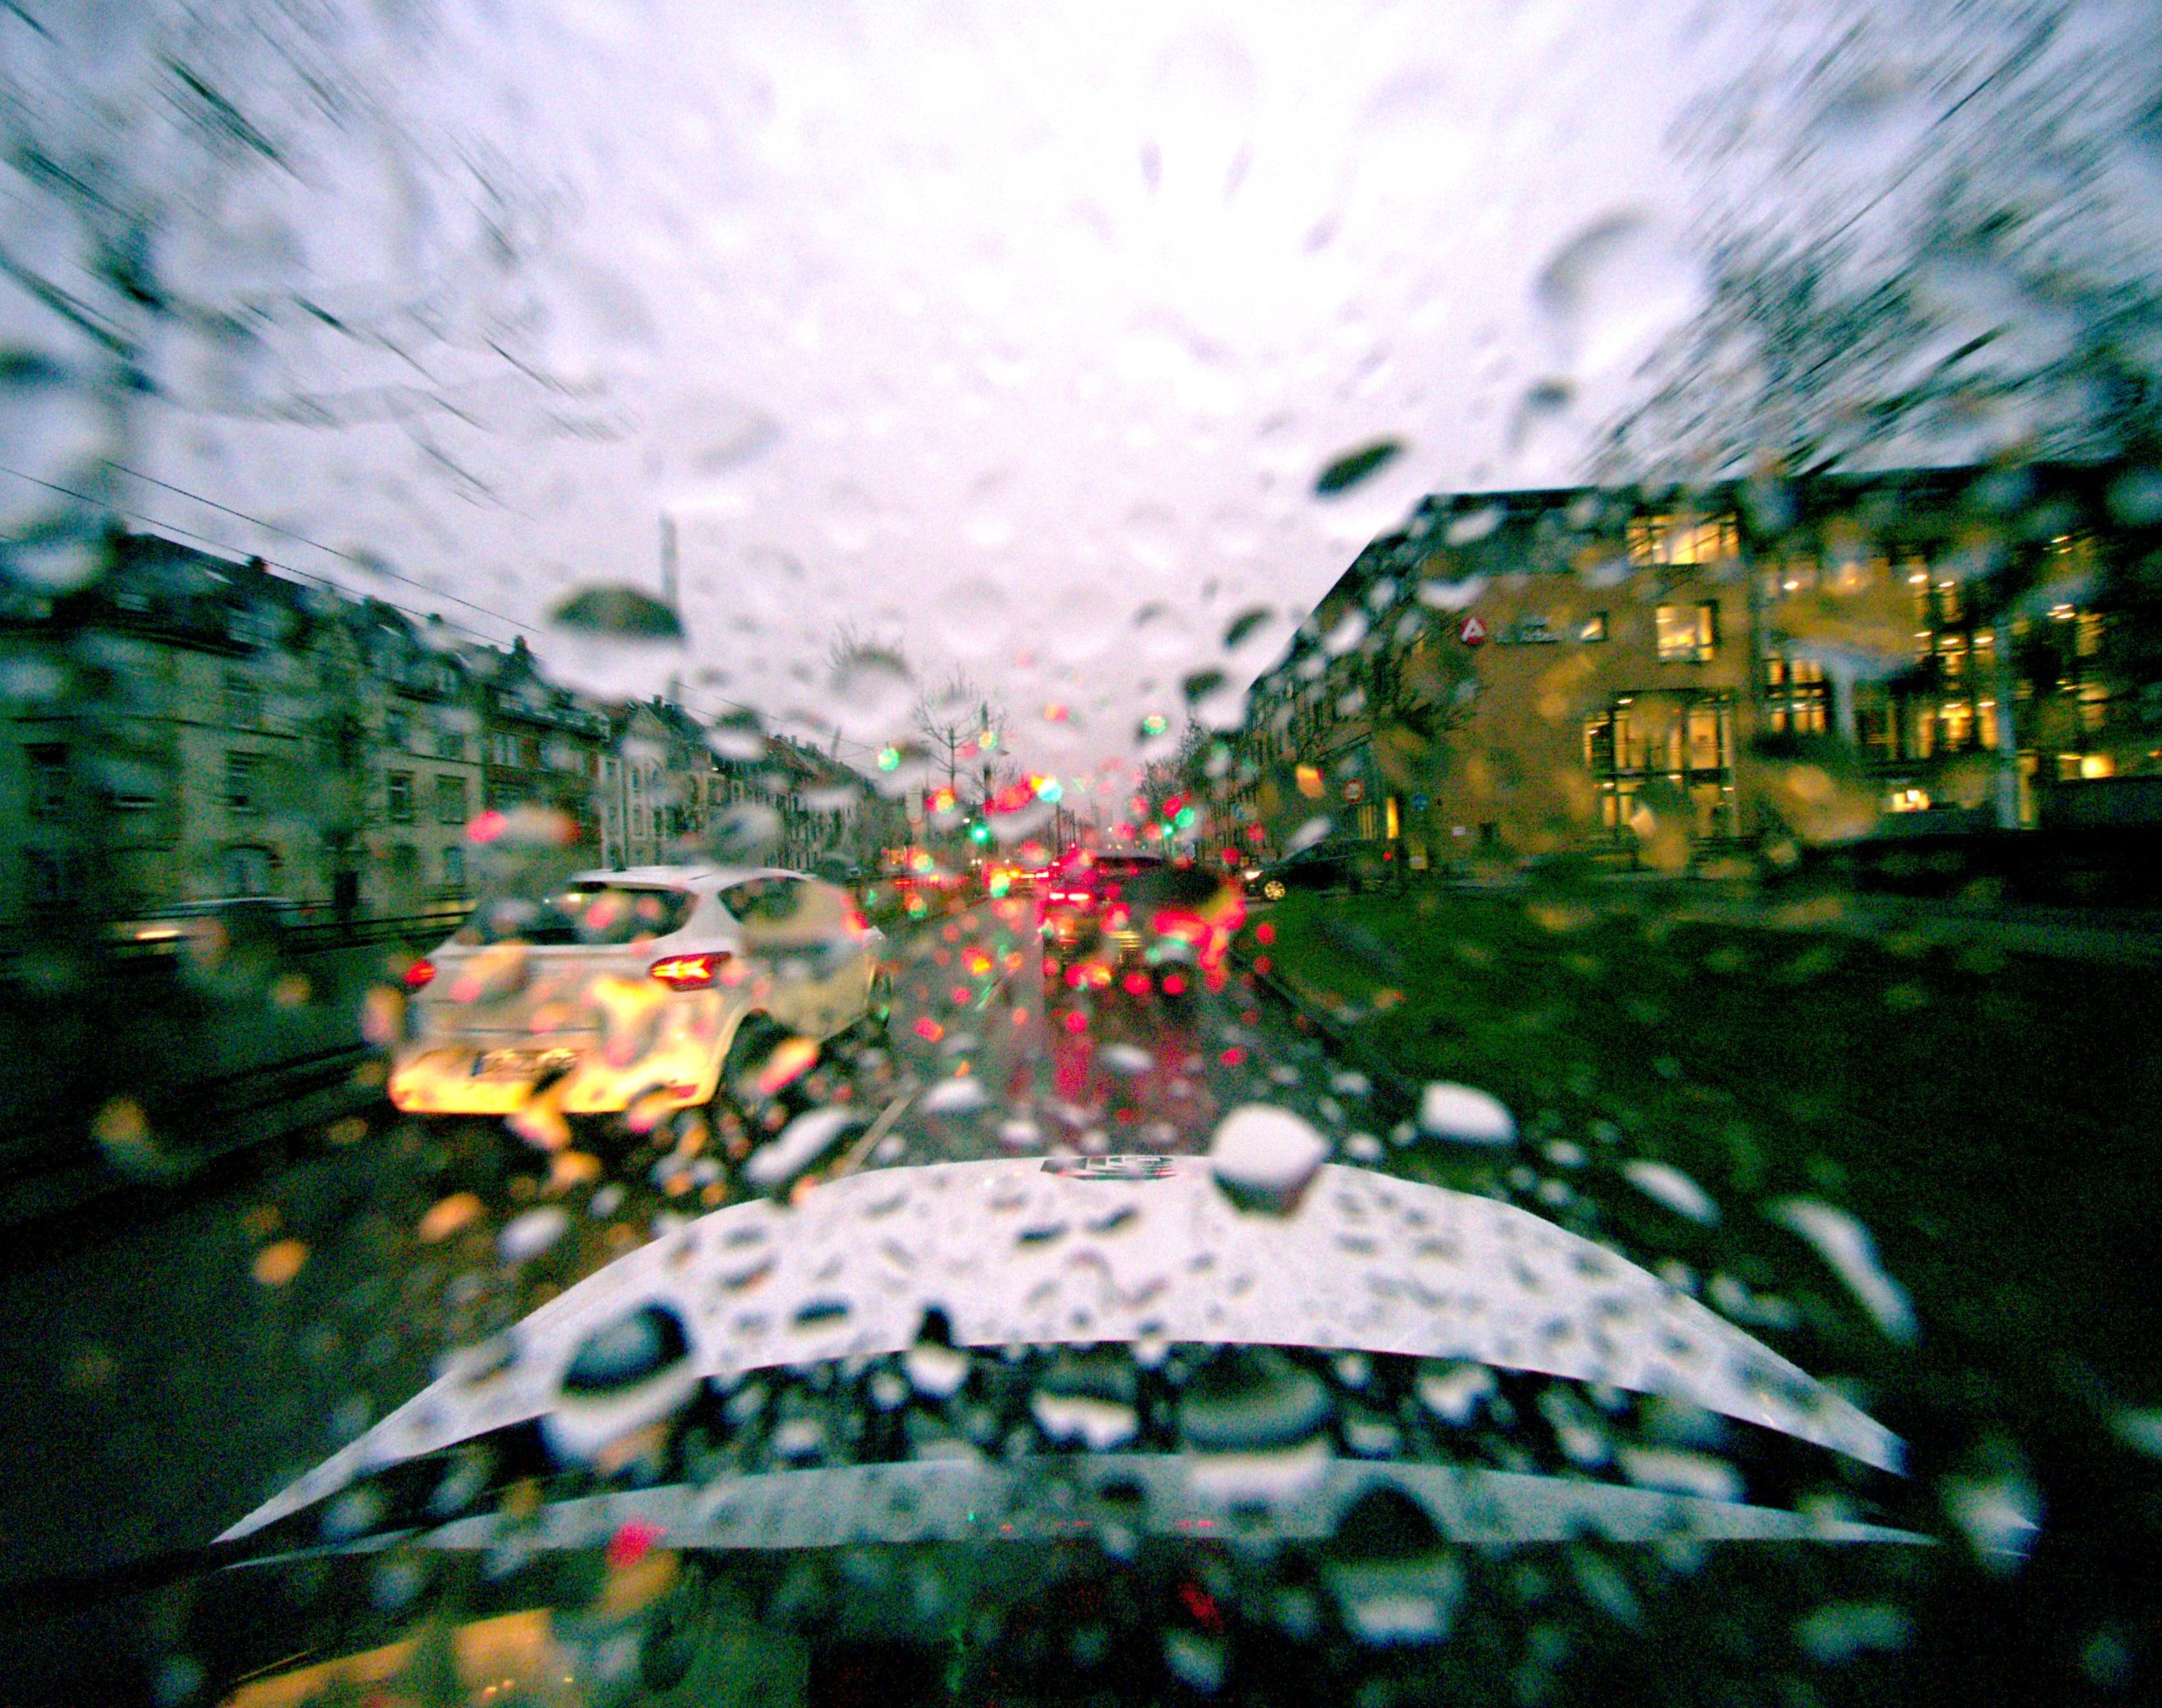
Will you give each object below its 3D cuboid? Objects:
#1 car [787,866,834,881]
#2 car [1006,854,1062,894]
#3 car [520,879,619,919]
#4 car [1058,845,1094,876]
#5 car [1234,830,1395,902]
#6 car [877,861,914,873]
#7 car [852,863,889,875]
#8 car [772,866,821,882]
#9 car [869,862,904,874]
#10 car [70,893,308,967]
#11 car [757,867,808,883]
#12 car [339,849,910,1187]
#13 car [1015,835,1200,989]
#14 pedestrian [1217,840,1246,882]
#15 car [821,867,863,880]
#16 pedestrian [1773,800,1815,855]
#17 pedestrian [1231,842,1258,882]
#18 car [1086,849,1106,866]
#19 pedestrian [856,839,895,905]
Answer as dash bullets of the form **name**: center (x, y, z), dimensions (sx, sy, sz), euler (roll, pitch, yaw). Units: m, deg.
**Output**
- **car**: center (-25.365, 1.854, 76.303), dimensions (3.753, 1.156, 1.653), euler (-3, 0, 7)
- **car**: center (-1.800, 0.737, 32.259), dimensions (1.988, 1.398, 3.997), euler (-3, 0, -2)
- **car**: center (-21.672, 1.885, 34.668), dimensions (1.648, 1.398, 3.769), euler (-3, 0, 2)
- **car**: center (-0.254, 0.362, 50.965), dimensions (1.986, 1.765, 4.002), euler (-3, 0, 2)
- **car**: center (6.314, 0.323, 22.374), dimensions (3.844, 1.560, 1.767), euler (-5, 0, 3)
- **car**: center (-23.344, 1.641, 102.721), dimensions (3.964, 1.227, 2.005), euler (-3, 0, 8)
- **car**: center (-24.939, 1.785, 96.463), dimensions (3.753, 1.156, 1.653), euler (-3, 0, 7)
- **car**: center (-25.627, 1.828, 73.431), dimensions (3.753, 1.156, 1.653), euler (-3, 0, 7)
- **car**: center (-23.766, 1.702, 99.736), dimensions (3.753, 1.156, 1.653), euler (-3, 0, 7)
- **car**: center (-21.952, 1.809, 20.292), dimensions (1.648, 1.398, 3.769), euler (-3, 0, 2)
- **car**: center (-25.853, 1.829, 70.620), dimensions (3.753, 1.156, 1.653), euler (-3, 0, 7)
- **car**: center (-2.559, 0.758, 5.808), dimensions (1.620, 1.487, 4.002), euler (-3, 0, 2)
- **car**: center (0.348, 0.641, 11.106), dimensions (1.983, 1.616, 4.001), euler (-3, 0, 1)
- **pedestrian**: center (5.885, 0.280, 31.805), dimensions (0.893, 1.596, 0.505), euler (-4, 0, 44)
- **car**: center (-24.483, 1.999, 83.554), dimensions (3.753, 1.156, 1.653), euler (-3, 0, 7)
- **pedestrian**: center (22.138, -0.817, 25.297), dimensions (0.628, 1.637, 0.738), euler (-3, 0, 7)
- **pedestrian**: center (6.801, 0.336, 33.922), dimensions (0.893, 1.596, 0.505), euler (-4, 0, 44)
- **car**: center (1.583, 0.376, 83.817), dimensions (1.986, 1.618, 4.002), euler (-3, 0, 2)
- **pedestrian**: center (-5.040, 0.426, 19.998), dimensions (0.696, 1.552, 0.669), euler (-3, 0, 2)
